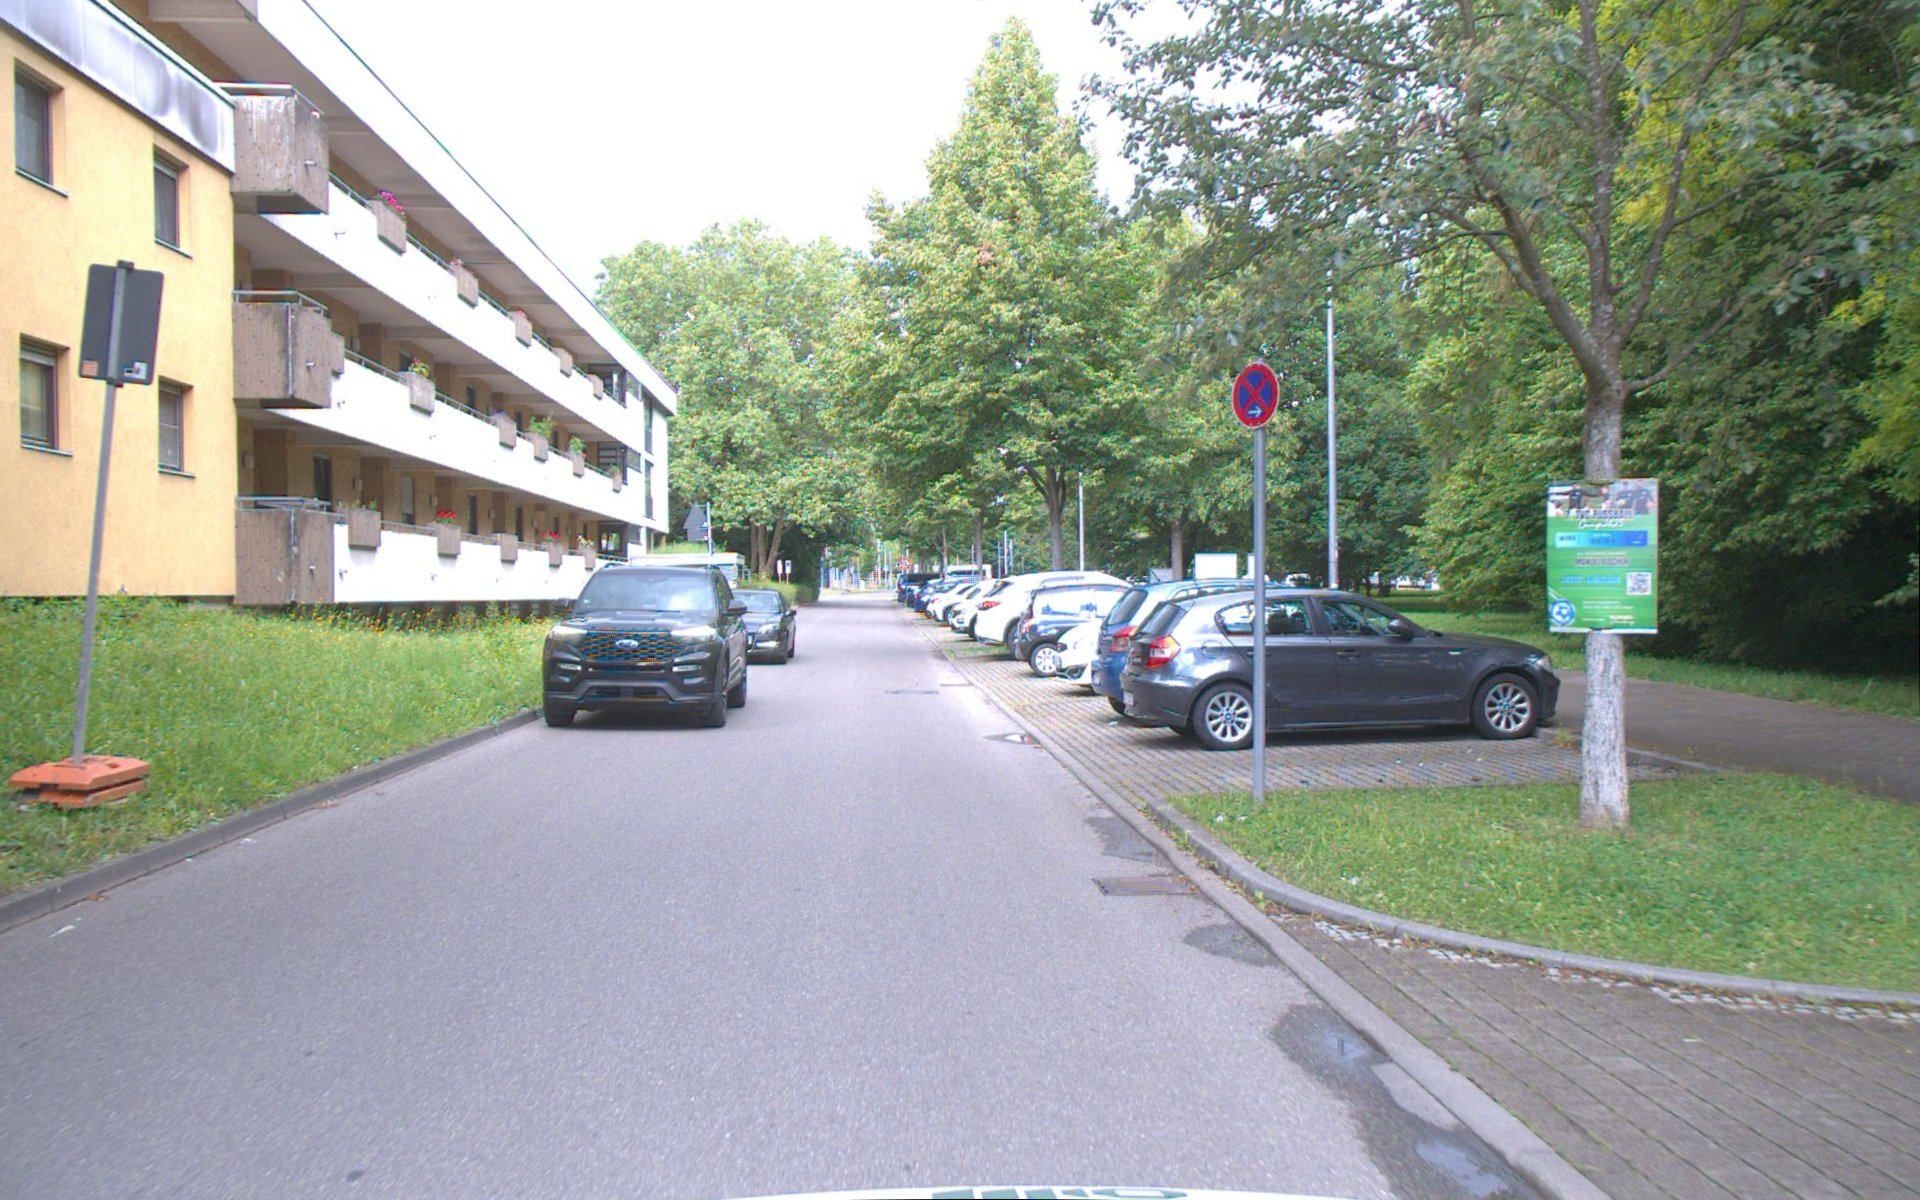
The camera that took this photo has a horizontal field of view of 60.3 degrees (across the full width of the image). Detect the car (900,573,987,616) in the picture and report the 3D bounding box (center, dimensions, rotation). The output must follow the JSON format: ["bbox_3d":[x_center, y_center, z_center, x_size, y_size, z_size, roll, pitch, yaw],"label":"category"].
[{"bbox_3d":[-0.816,-0.278,80.779,3.987,1.801,1.820,-4,1,-7],"label":"car"}]

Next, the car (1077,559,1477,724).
[{"bbox_3d":[3.423,0.448,18.334,3.983,1.596,1.821,-2,-1,-4],"label":"car"}]

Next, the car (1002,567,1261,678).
[{"bbox_3d":[2.843,0.352,27.977,3.987,1.514,1.820,-4,1,-7],"label":"car"}]

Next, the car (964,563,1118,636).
[{"bbox_3d":[2.231,-0.032,46.243,3.987,1.716,1.820,-4,1,-7],"label":"car"}]

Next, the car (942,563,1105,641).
[{"bbox_3d":[1.650,0.045,43.719,3.987,1.716,1.820,-4,1,-7],"label":"car"}]

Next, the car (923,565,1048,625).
[{"bbox_3d":[0.864,-0.179,56.746,3.987,1.716,1.820,-4,1,-7],"label":"car"}]

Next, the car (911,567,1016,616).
[{"bbox_3d":[0.124,-0.349,67.548,3.987,1.716,1.820,-4,1,-7],"label":"car"}]

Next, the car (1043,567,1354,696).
[{"bbox_3d":[3.277,0.407,23.165,3.983,1.595,1.821,-2,0,-4],"label":"car"}]

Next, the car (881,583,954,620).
[{"bbox_3d":[-2.484,0.081,95.882,3.987,1.801,1.820,-4,1,-7],"label":"car"}]

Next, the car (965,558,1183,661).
[{"bbox_3d":[2.233,0.173,33.014,3.987,1.716,1.820,-4,1,-7],"label":"car"}]

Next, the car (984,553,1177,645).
[{"bbox_3d":[2.686,-0.034,37.360,3.987,1.716,1.820,-4,1,-7],"label":"car"}]

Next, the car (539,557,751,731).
[{"bbox_3d":[-3.520,0.439,19.250,1.930,1.778,4.334,0,0,-4],"label":"car"}]

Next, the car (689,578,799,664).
[{"bbox_3d":[-4.251,0.376,33.152,1.930,1.603,4.334,0,0,-4],"label":"car"}]

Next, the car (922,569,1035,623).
[{"bbox_3d":[0.686,-0.159,62.428,3.987,1.716,1.820,-4,1,-7],"label":"car"}]

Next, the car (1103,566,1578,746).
[{"bbox_3d":[3.520,0.512,15.816,3.983,1.459,1.998,-2,-1,-4],"label":"car"}]
